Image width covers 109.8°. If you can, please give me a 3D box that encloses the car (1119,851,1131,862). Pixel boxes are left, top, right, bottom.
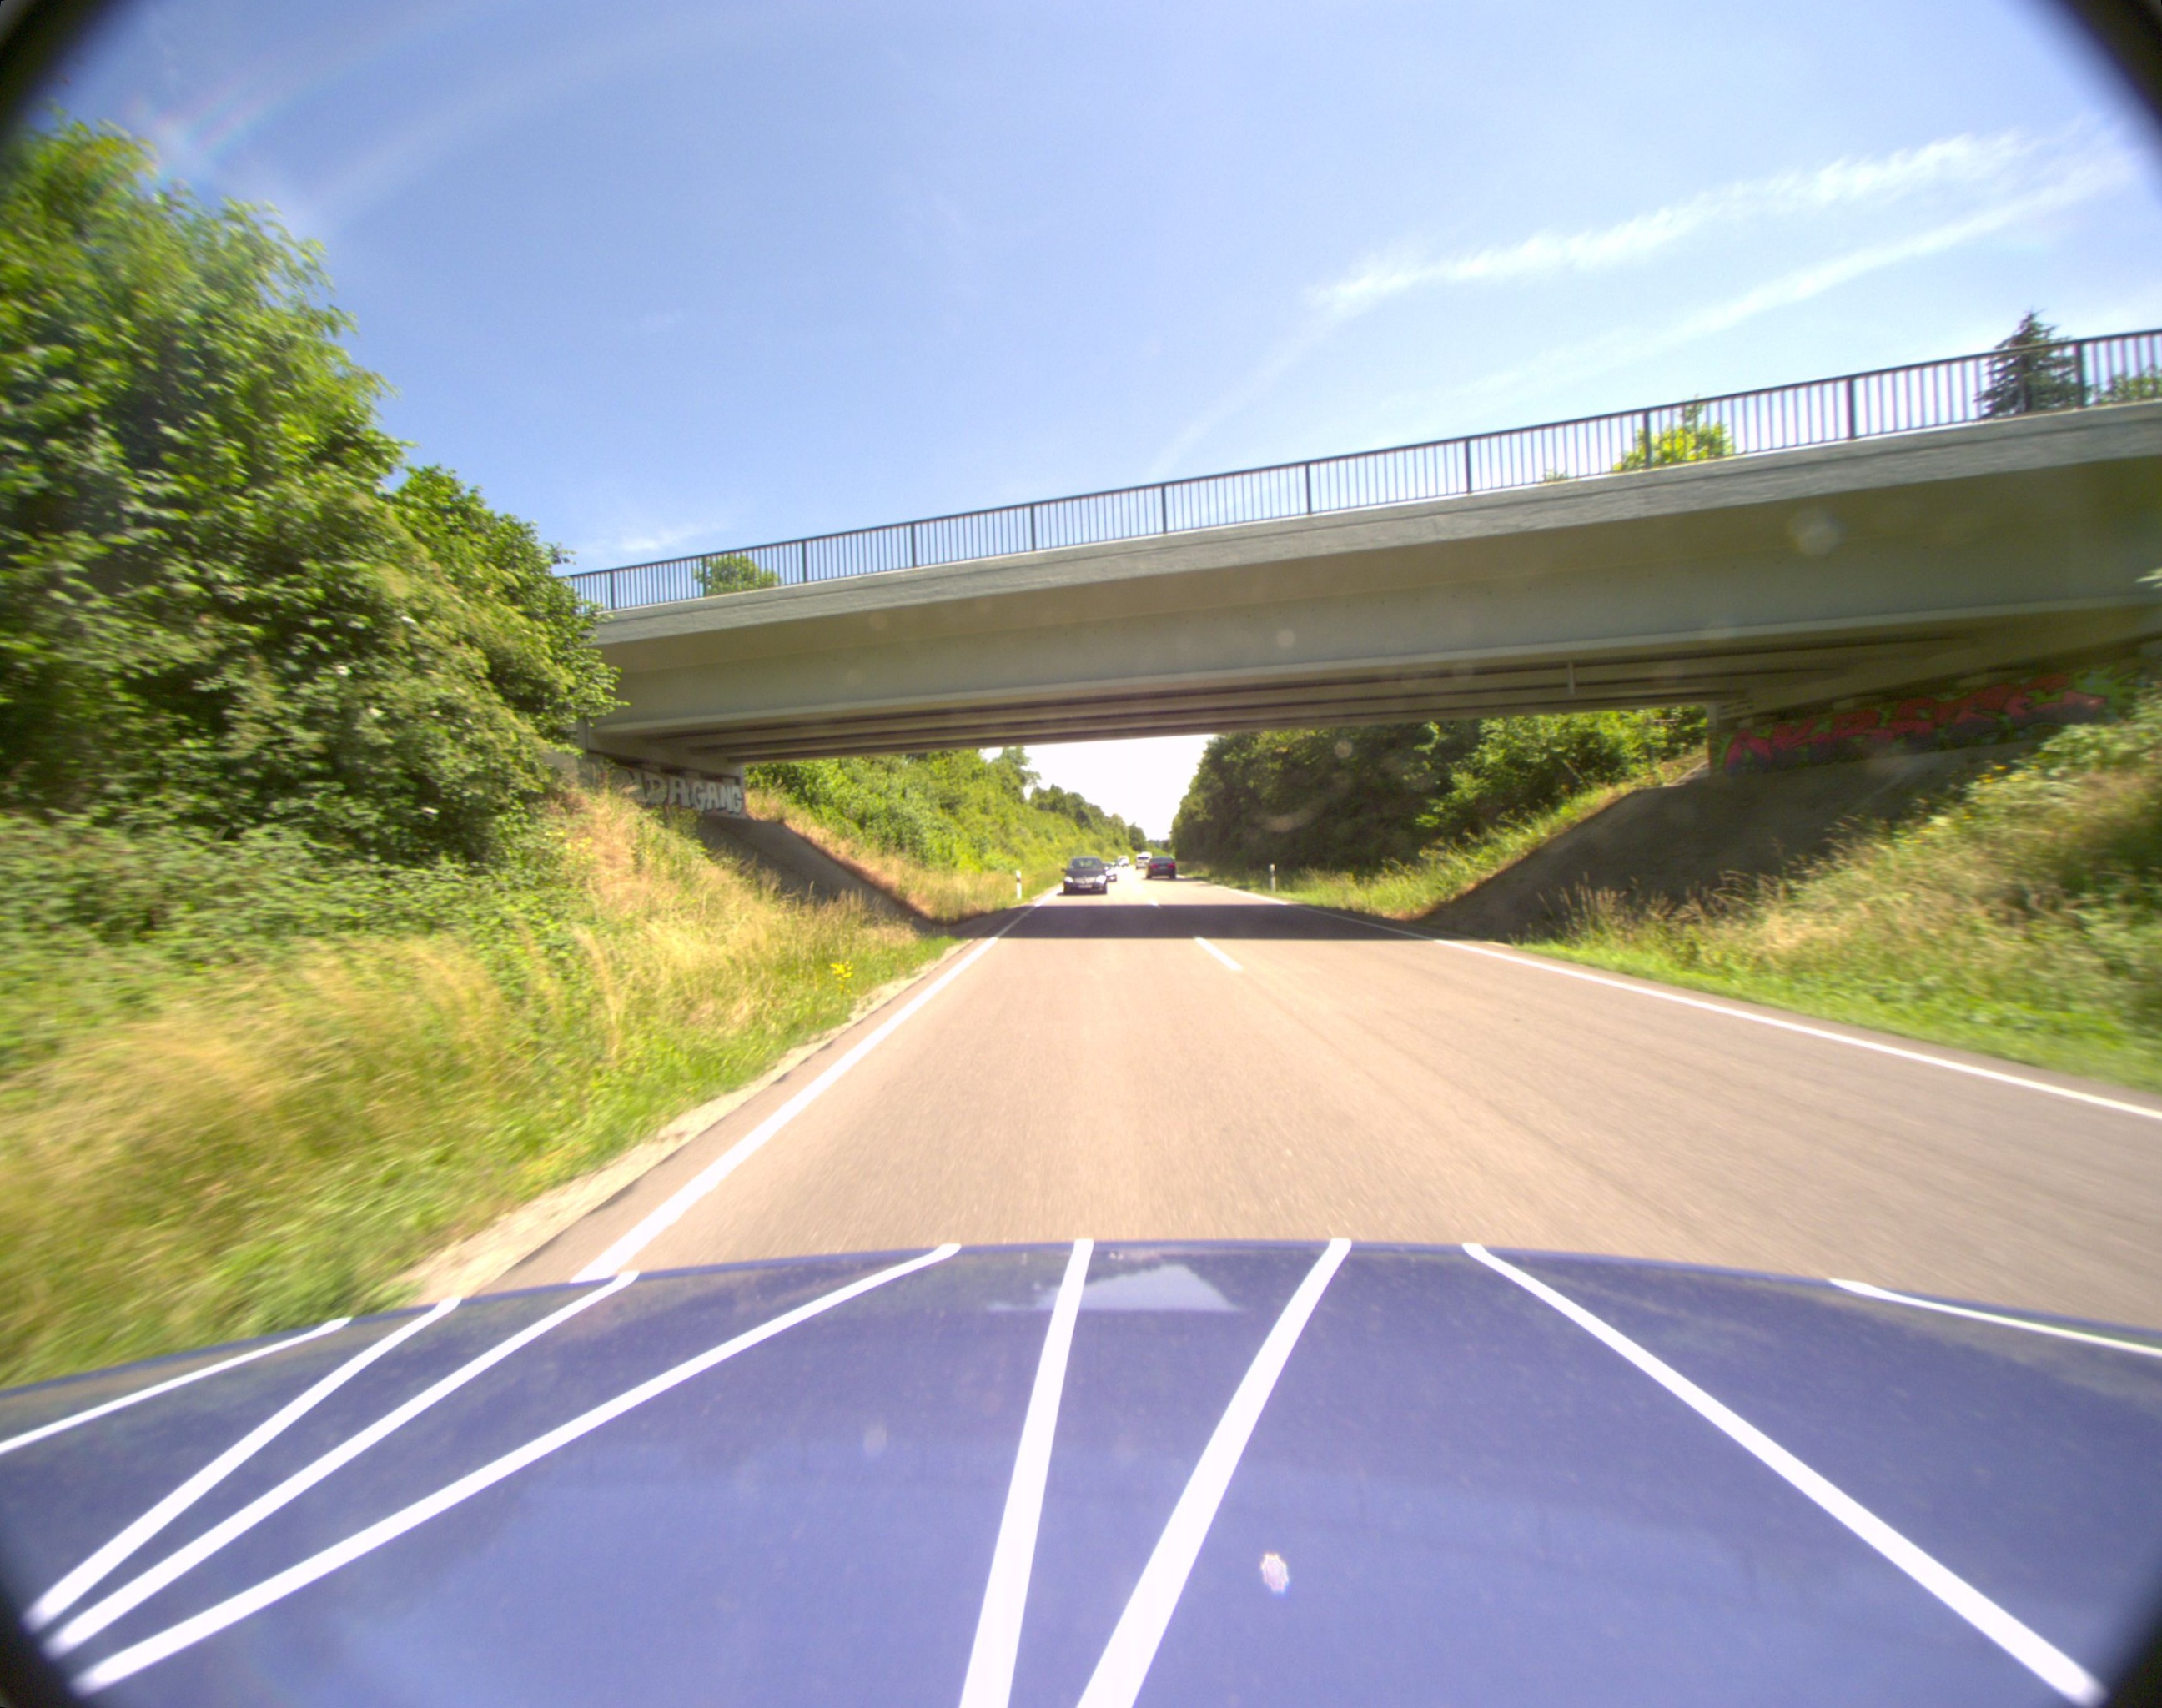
[{"bbox_3d":[8.242,0.485,141.850,1.998,2.002,4.001,-2,0,4],"label":"car"}]

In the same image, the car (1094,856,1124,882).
[{"bbox_3d":[1.776,0.888,46.821,1.709,1.444,5.416,-1,0,3],"label":"car"}]

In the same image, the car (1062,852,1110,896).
[{"bbox_3d":[0.291,0.801,32.193,1.783,1.676,4.780,-1,0,3],"label":"car"}]

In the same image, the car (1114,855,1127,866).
[{"bbox_3d":[6.258,1.032,120.321,2.045,1.743,4.167,-1,0,3],"label":"car"}]

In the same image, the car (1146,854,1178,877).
[{"bbox_3d":[5.498,0.744,52.014,1.863,1.497,4.587,-1,0,2],"label":"car"}]

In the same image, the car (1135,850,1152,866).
[{"bbox_3d":[7.813,0.524,95.263,1.936,1.894,5.328,-1,0,3],"label":"car"}]
